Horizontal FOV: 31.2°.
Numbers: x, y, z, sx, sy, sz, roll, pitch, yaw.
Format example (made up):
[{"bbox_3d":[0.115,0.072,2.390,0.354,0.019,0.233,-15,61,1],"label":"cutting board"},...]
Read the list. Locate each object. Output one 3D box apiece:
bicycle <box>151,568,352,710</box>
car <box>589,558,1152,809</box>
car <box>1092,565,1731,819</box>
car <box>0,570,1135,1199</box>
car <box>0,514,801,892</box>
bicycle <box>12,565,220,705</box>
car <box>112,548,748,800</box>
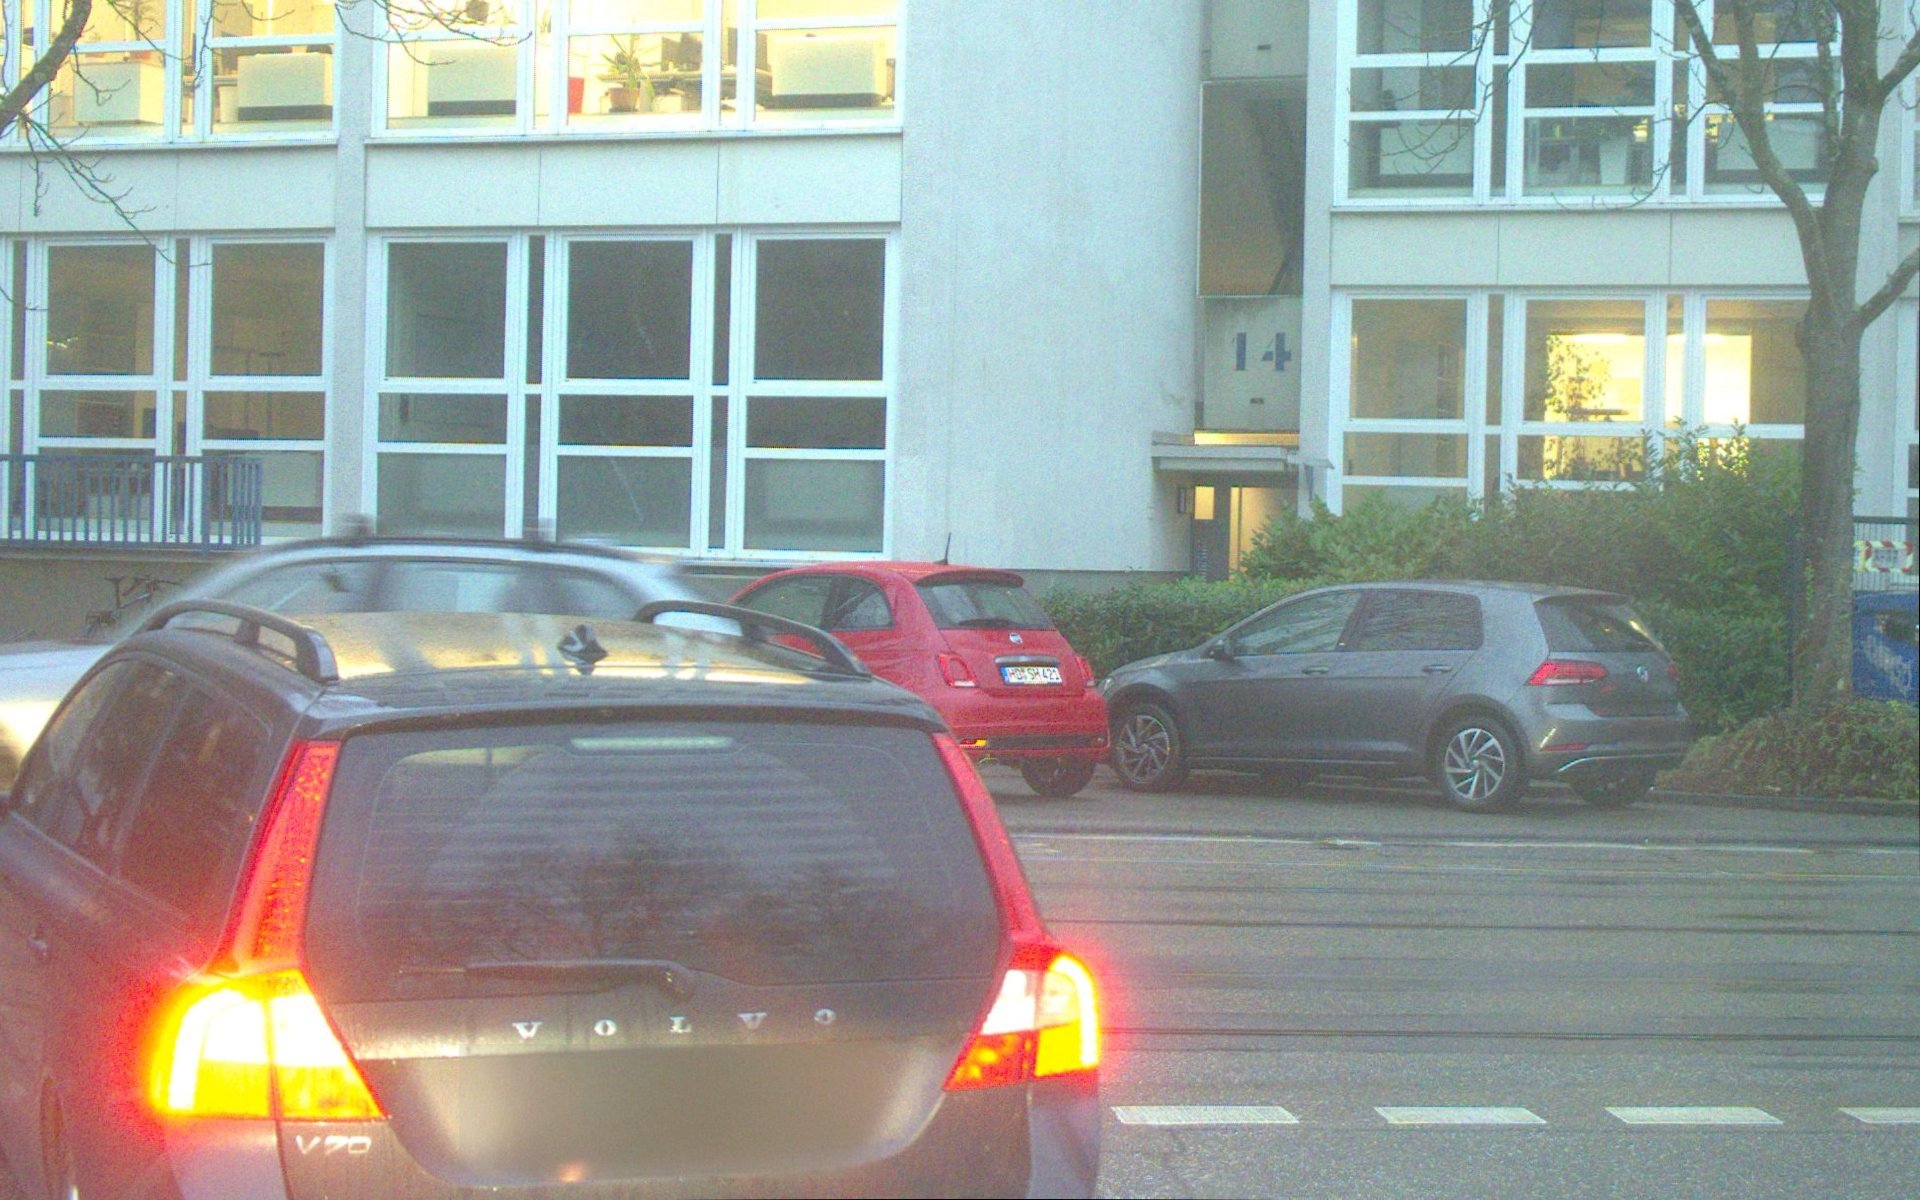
[{"bbox_3d":[-5.804,0.300,28.300,0.640,1.117,2.204,1,1,17],"label":"bicycle"},{"bbox_3d":[-0.633,0.491,22.567,3.448,1.487,1.725,1,1,43],"label":"car"},{"bbox_3d":[2.907,0.541,22.568,3.850,1.487,1.692,1,1,41],"label":"car"},{"bbox_3d":[-1.238,0.771,7.426,1.747,1.539,4.297,1,2,-19],"label":"car"},{"bbox_3d":[-2.958,0.431,15.387,4.364,1.573,1.713,1,1,-7],"label":"car"},{"bbox_3d":[-6.997,0.271,28.624,0.640,1.117,2.204,1,1,17],"label":"bicycle"},{"bbox_3d":[-3.451,0.413,22.066,3.996,1.441,1.789,1,1,39],"label":"car"}]
